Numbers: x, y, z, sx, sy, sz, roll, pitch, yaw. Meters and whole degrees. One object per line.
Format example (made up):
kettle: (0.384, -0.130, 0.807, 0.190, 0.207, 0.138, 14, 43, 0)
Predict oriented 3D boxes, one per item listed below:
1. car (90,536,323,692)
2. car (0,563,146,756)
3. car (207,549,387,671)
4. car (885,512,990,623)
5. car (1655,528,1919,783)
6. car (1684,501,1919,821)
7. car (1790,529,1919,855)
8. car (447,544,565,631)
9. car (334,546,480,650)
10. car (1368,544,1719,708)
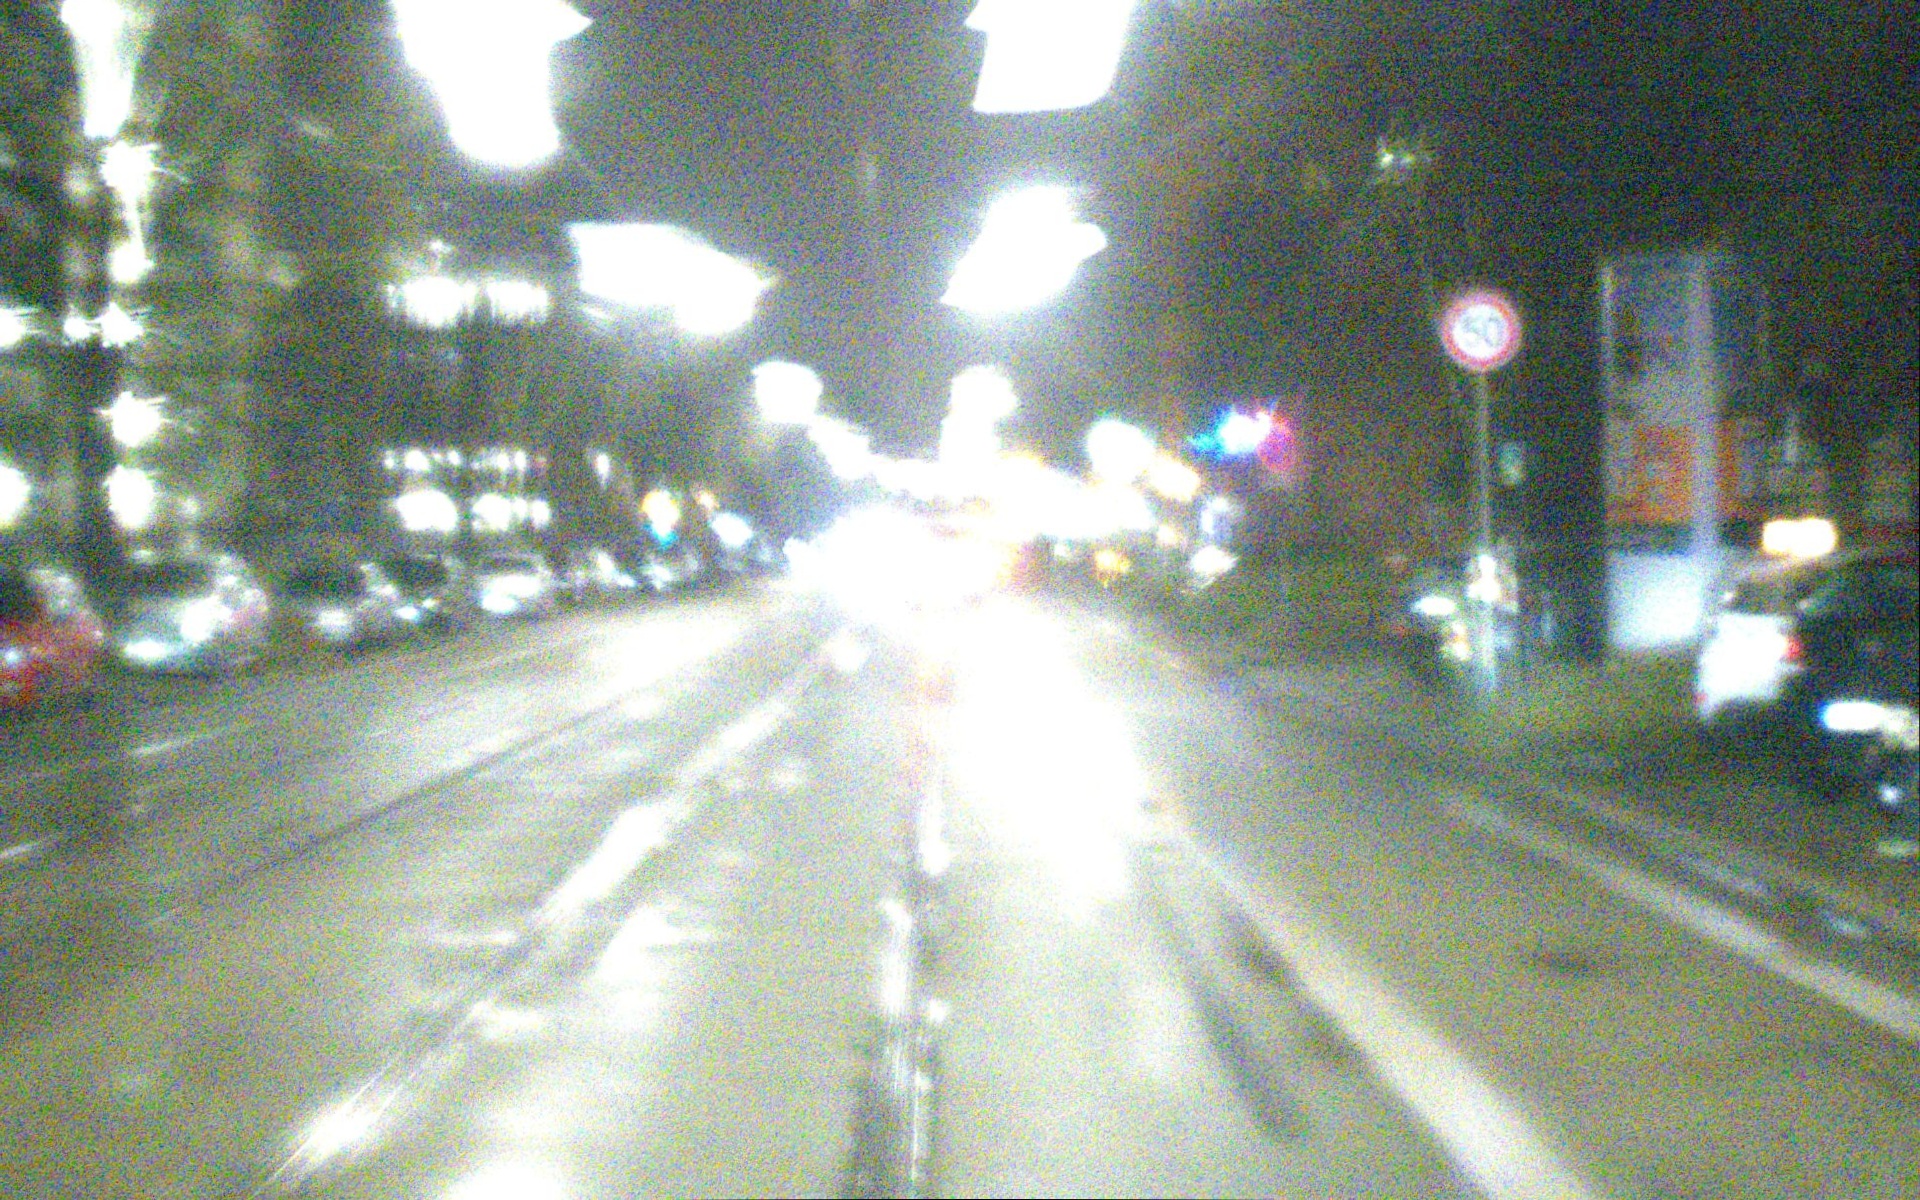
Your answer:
car: (-9.319, 0.164, 42.827, 1.999, 1.779, 4.000, 2, 0, -1)
car: (-9.701, 0.517, 34.398, 2.108, 1.758, 4.966, 2, 0, -3)
car: (-10.267, 0.143, 53.494, 2.022, 1.755, 4.000, 2, 0, -1)
car: (-0.564, -0.770, 79.139, 2.216, 2.433, 5.385, 1, 1, -2)
car: (6.713, 0.360, 23.631, 1.909, 1.567, 3.952, 2, 1, 44)
car: (6.322, 0.347, 20.231, 2.029, 1.692, 4.237, 2, 1, 44)
car: (6.051, 0.456, 16.650, 4.237, 1.449, 1.950, 1, 1, -44)
car: (-9.750, -0.266, 74.104, 2.022, 1.755, 4.000, 2, 0, -1)
car: (-10.059, -0.038, 62.777, 2.022, 1.755, 4.000, 2, 0, -1)
car: (6.159, 0.263, 36.011, 1.909, 1.567, 3.953, 2, 1, 39)
